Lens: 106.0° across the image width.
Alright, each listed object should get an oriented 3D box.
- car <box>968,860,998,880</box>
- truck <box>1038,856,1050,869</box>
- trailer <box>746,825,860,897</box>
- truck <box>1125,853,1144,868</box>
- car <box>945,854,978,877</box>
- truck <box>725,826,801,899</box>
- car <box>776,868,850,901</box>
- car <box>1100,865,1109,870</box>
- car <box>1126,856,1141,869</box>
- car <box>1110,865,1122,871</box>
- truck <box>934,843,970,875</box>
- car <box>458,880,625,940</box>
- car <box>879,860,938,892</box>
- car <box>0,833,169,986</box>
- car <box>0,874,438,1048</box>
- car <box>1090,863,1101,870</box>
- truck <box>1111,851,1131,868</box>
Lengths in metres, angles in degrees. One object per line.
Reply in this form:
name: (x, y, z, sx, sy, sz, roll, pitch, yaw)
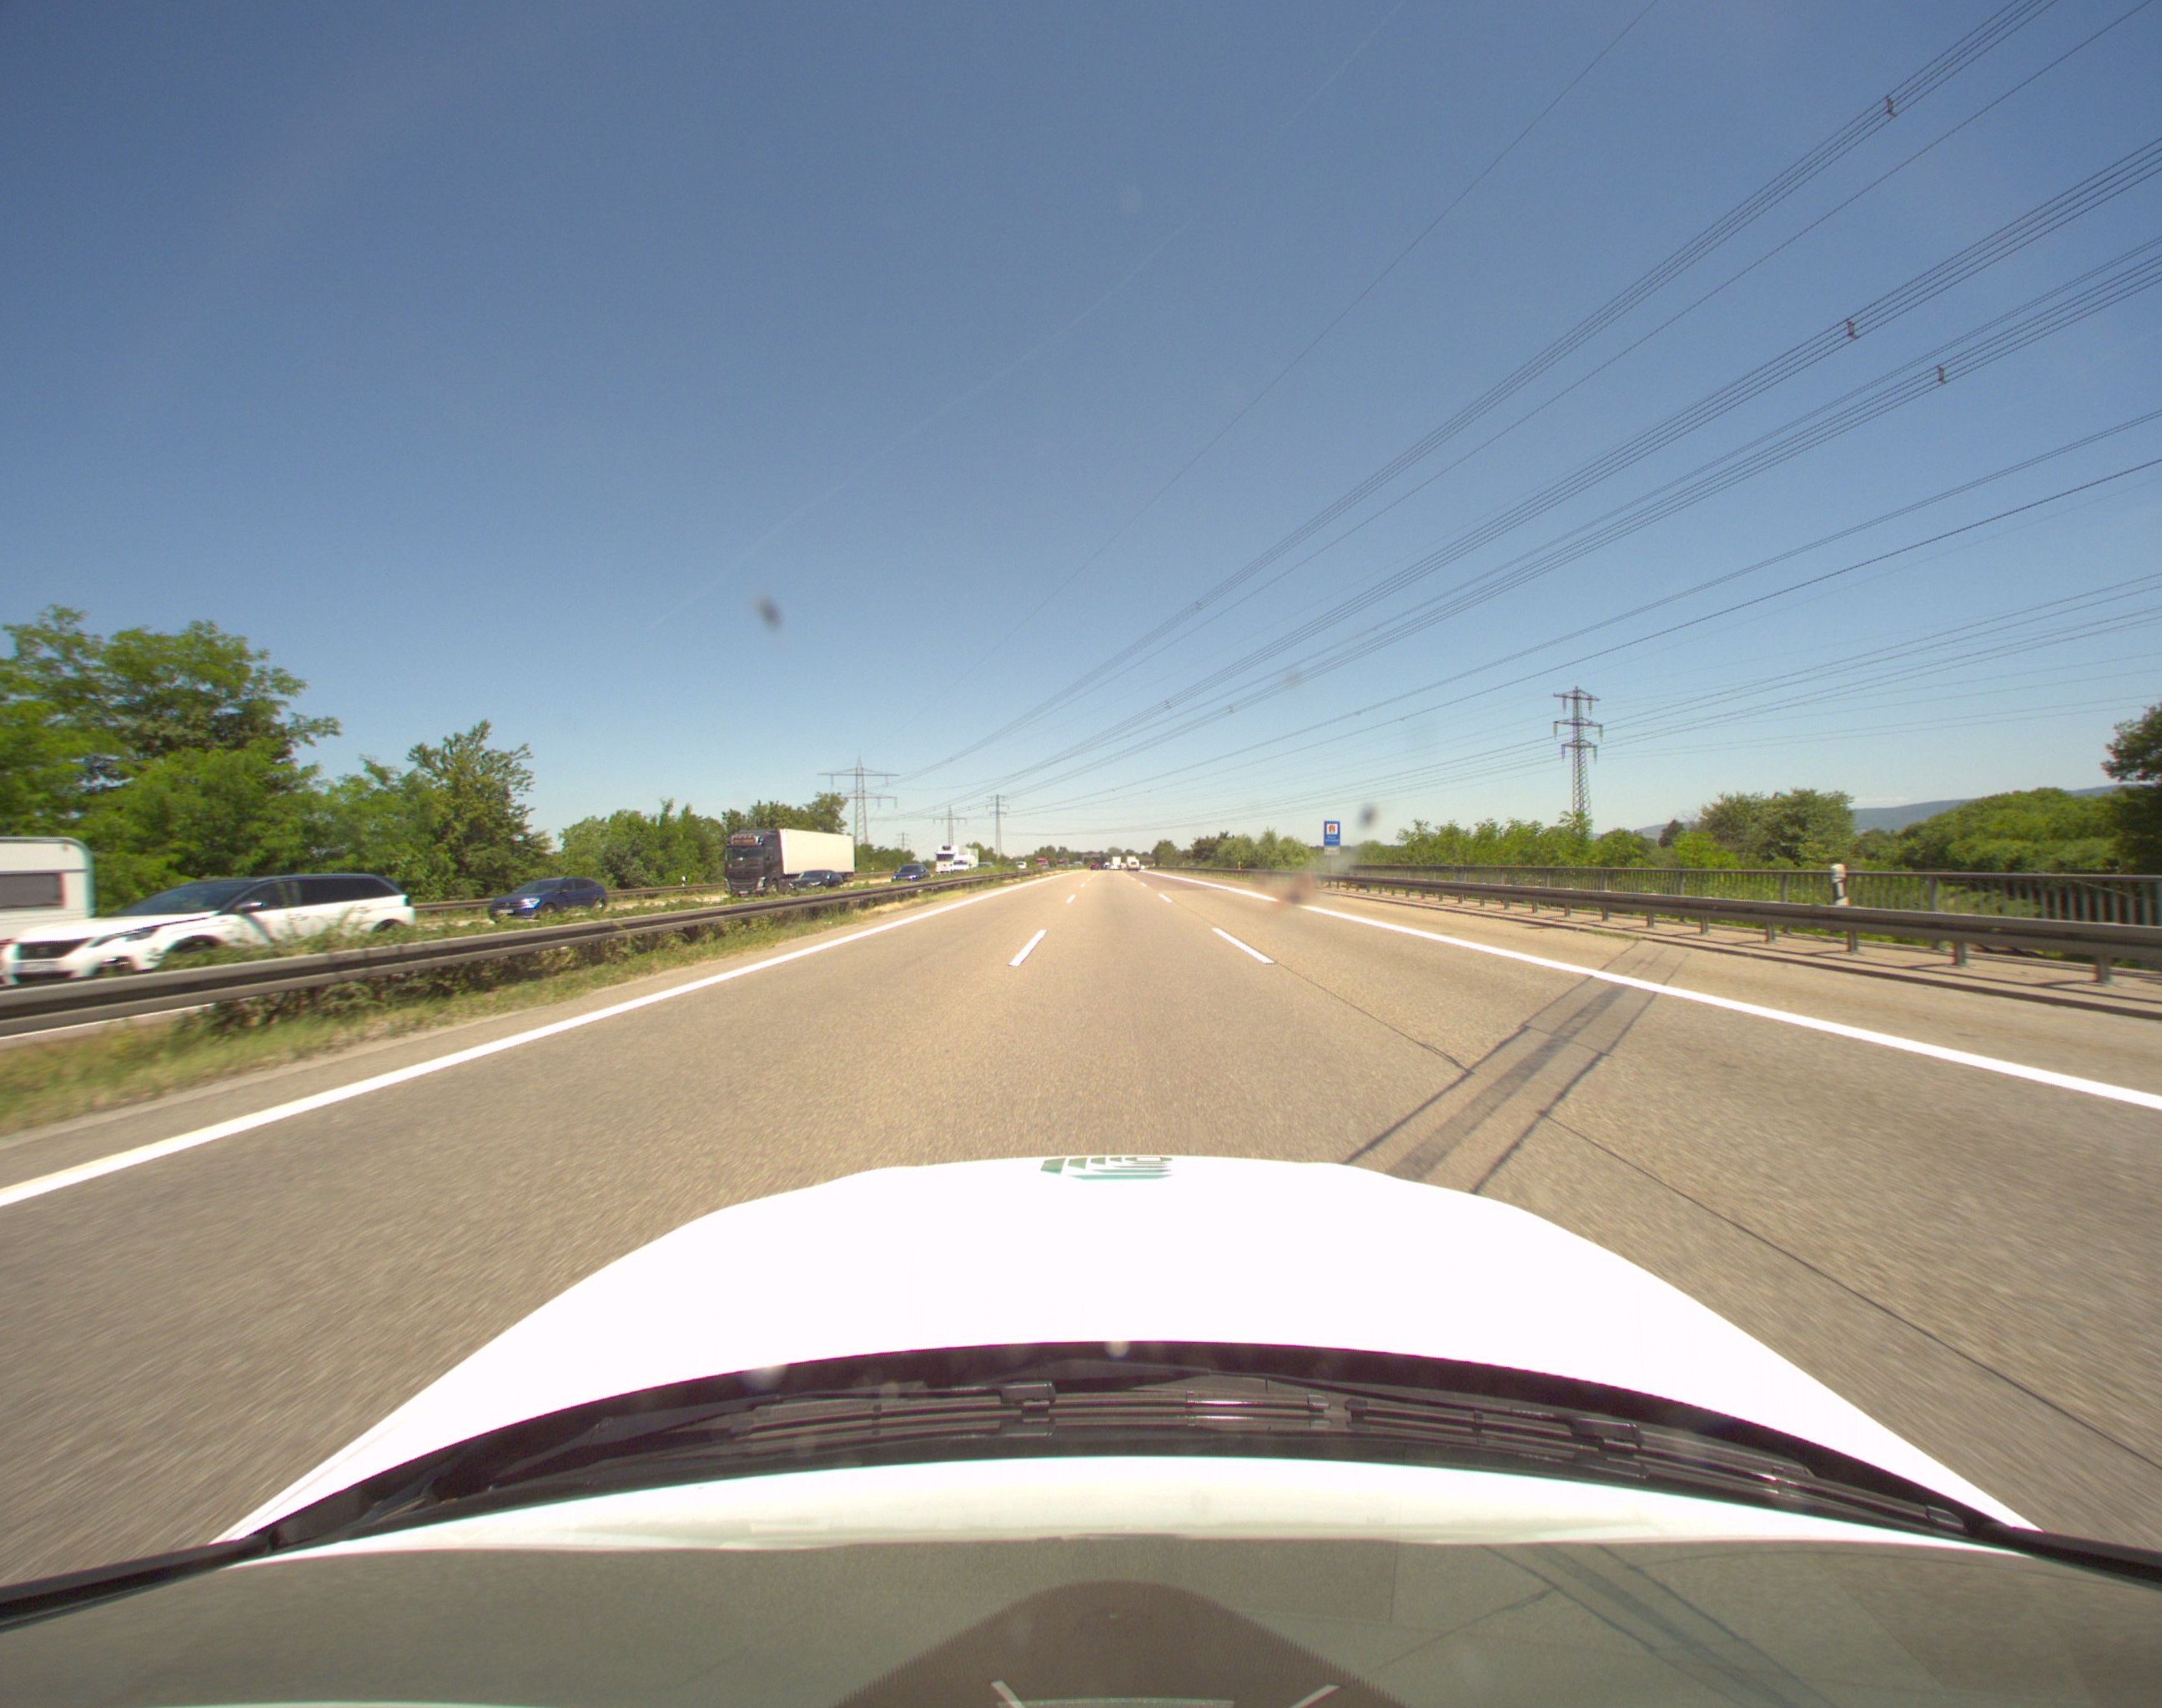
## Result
car: (-10.338, 1.672, 85.933, 2.473, 2.013, 4.559, 0, 0, 2)
truck: (-10.544, 2.467, 231.893, 2.759, 3.527, 8.538, 0, 0, 2)
trailer: (-18.513, 0.415, 55.791, 2.414, 4.289, 14.438, 0, 0, 2)
truck: (16.461, 1.933, 248.228, 3.159, 4.304, 16.072, 0, 0, 13)
car: (-13.611, 1.255, 93.222, 2.473, 2.579, 7.124, 0, 0, 2)
truck: (-18.758, 0.485, 48.284, 2.414, 4.111, 4.922, 0, 0, 1)
car: (-14.835, 1.656, 45.361, 2.378, 1.640, 4.821, 0, 0, 2)
car: (7.017, 4.035, 242.234, 1.816, 1.547, 4.333, 1, -1, 12)
car: (9.663, 1.517, 149.865, 2.433, 2.321, 5.323, -1, 0, 2)
car: (8.402, 3.412, 197.007, 1.814, 1.547, 4.337, 1, -1, 16)
truck: (-16.800, 0.647, 106.888, 2.682, 3.950, 10.596, 0, 0, 2)
car: (-18.488, 1.863, 28.273, 2.473, 1.637, 4.752, -3, 0, 2)
car: (-11.241, 1.380, 53.664, 2.473, 1.931, 5.741, 0, 0, 2)
car: (-19.724, 0.988, 13.593, 2.409, 2.614, 5.719, -2, 0, 2)
car: (-12.726, 1.372, 12.295, 2.289, 2.013, 4.559, 0, 0, 2)
car: (3.296, 2.970, 188.261, 1.816, 1.547, 4.333, 1, -1, 12)
truck: (12.463, 1.605, 251.640, 3.642, 5.018, 16.070, 0, 0, 12)
